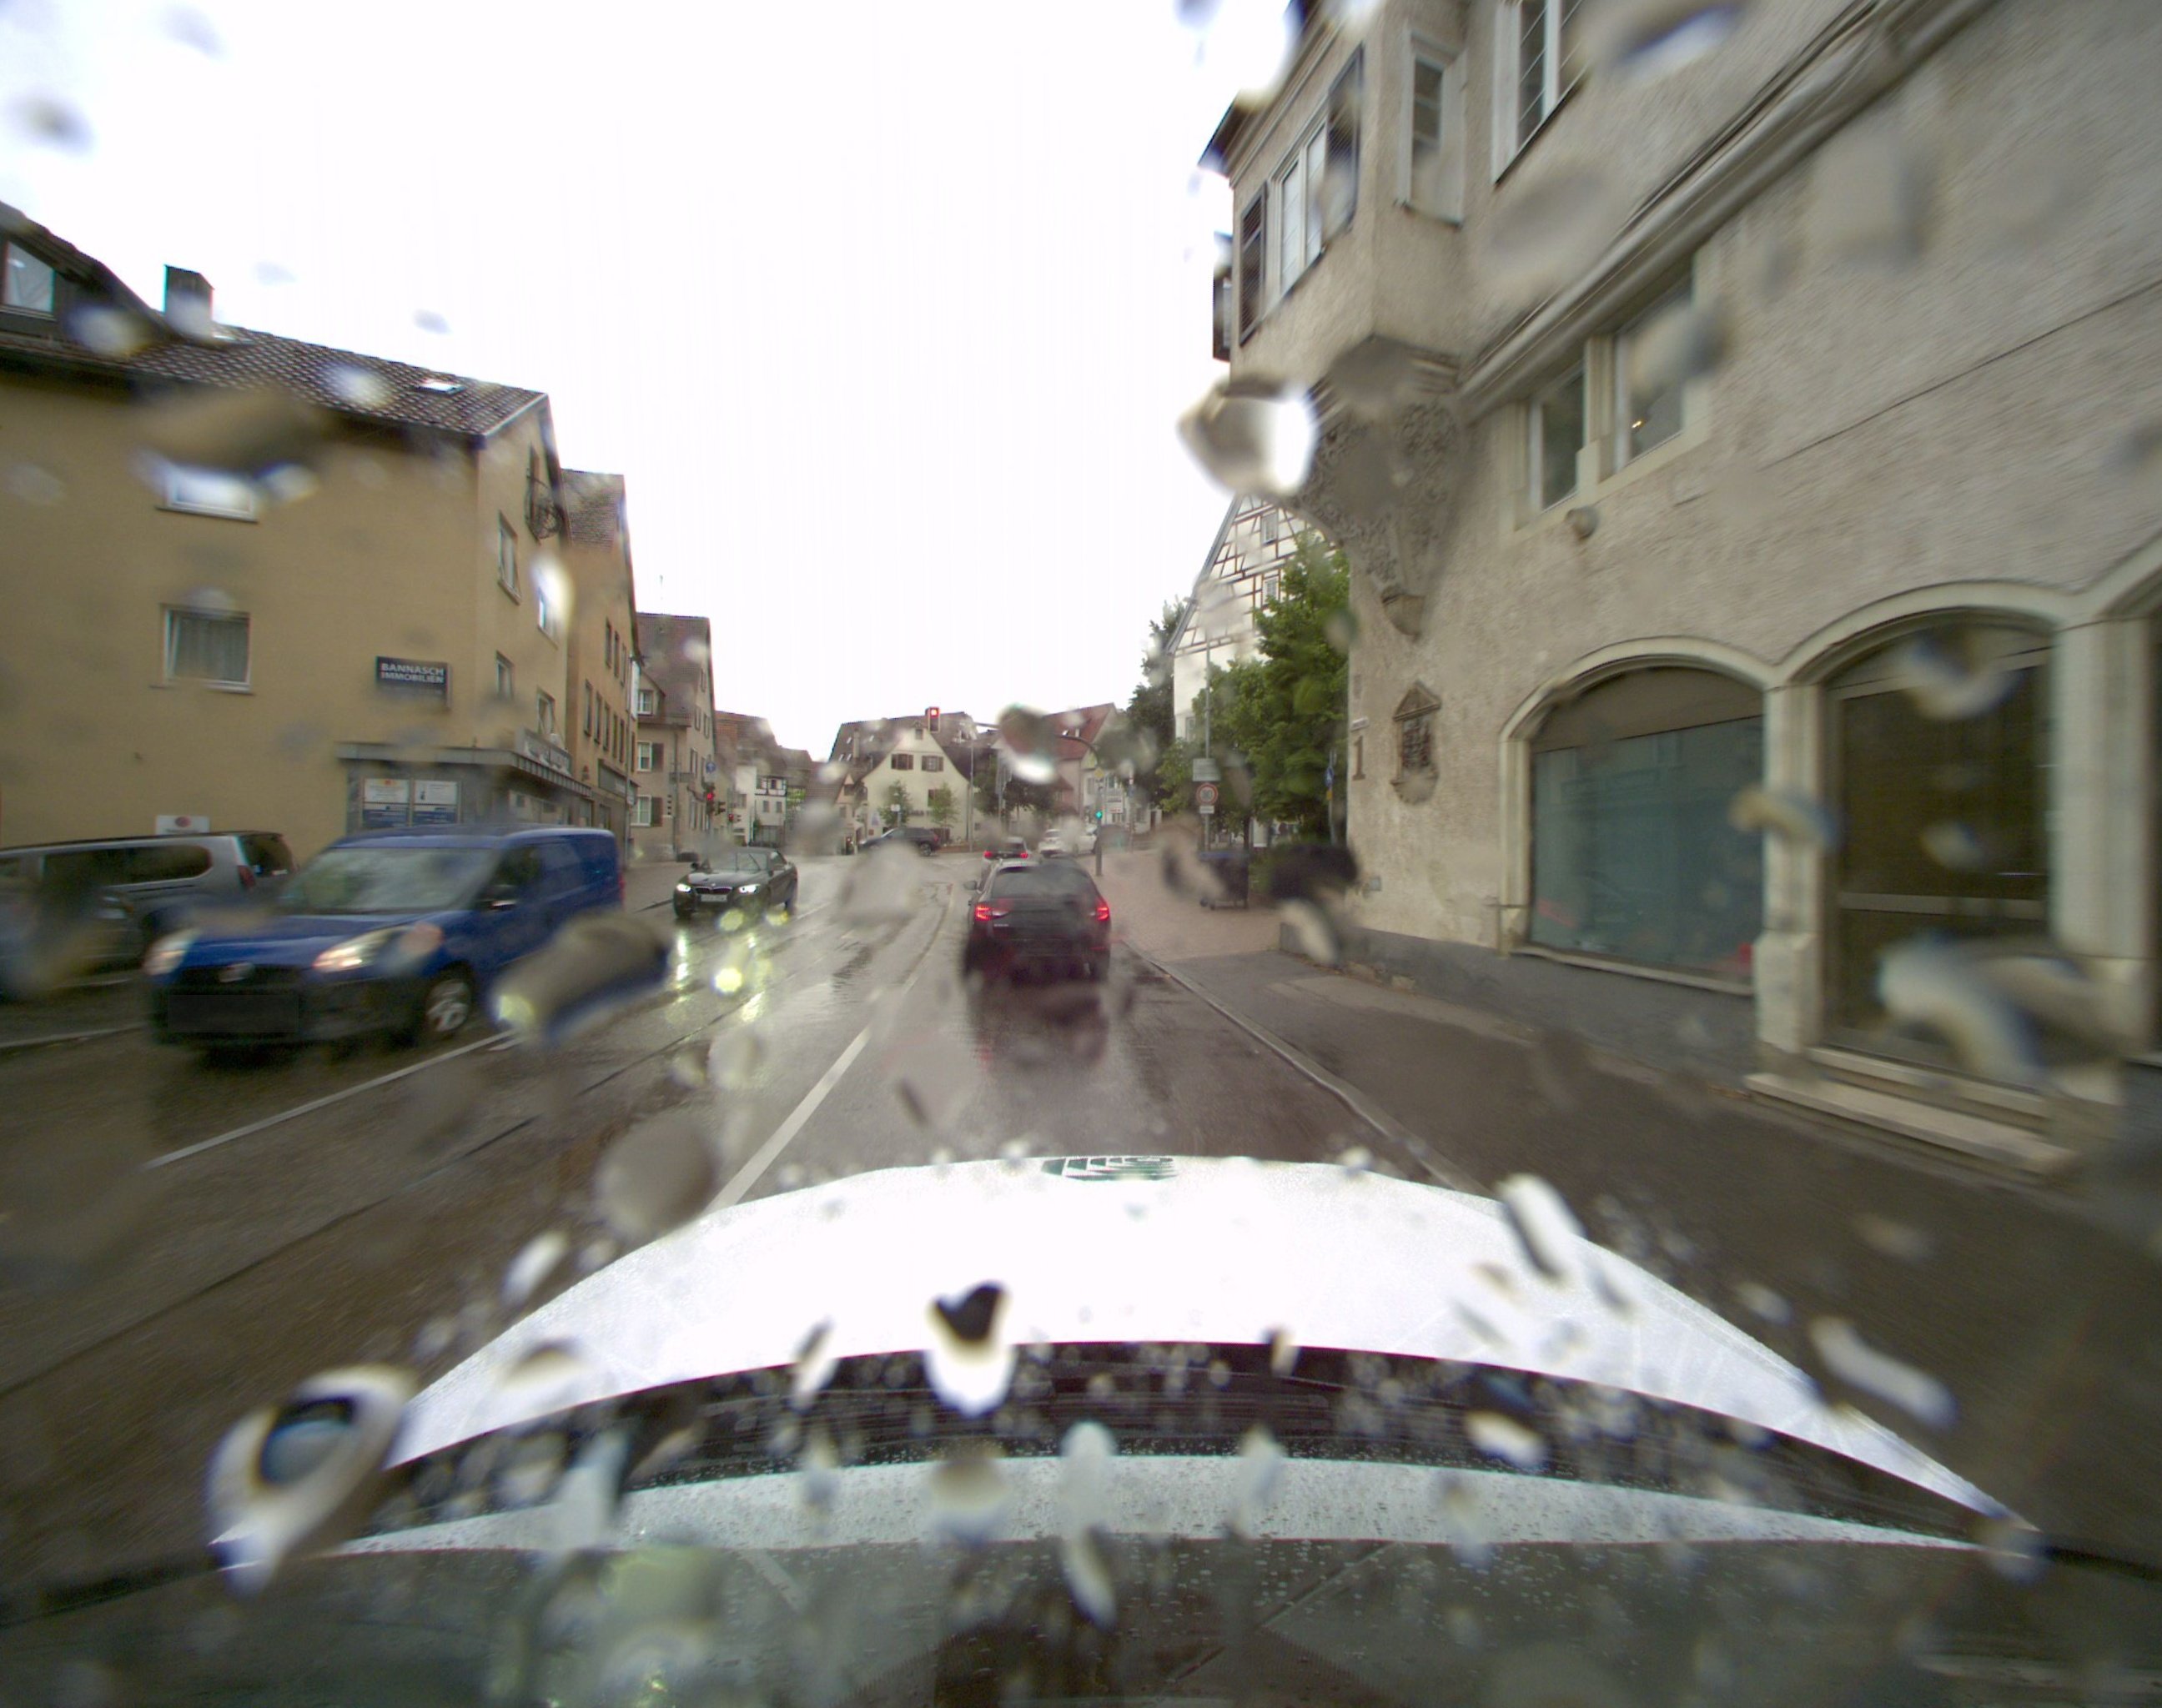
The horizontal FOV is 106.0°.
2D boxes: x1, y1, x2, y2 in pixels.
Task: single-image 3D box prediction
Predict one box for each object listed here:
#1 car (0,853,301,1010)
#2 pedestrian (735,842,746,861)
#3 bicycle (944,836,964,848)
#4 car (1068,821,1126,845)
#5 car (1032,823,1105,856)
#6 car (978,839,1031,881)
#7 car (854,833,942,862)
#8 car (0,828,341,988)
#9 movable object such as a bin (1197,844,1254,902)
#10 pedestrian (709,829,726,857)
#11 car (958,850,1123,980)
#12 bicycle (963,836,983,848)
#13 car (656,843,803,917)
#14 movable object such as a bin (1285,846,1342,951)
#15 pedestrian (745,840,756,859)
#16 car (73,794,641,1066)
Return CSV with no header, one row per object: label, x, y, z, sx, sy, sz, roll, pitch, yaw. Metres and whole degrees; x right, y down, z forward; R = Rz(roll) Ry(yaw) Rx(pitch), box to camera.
car,-10.961,0.735,8.250,4.008,1.453,1.884,0,0,-26
pedestrian,-31.386,-0.211,75.116,0.781,1.731,0.627,-2,3,-18
bicycle,-9.576,-0.918,61.231,1.477,0.911,0.388,-2,4,-39
car,0.986,-1.295,50.822,3.385,1.477,1.528,0,1,-15
car,-0.589,-0.751,41.501,1.867,1.596,4.352,0,1,28
car,-2.812,0.179,30.333,1.853,1.473,3.994,0,1,-5
car,-10.431,-0.375,46.389,4.748,1.588,1.819,0,2,-19
car,-14.303,0.773,11.663,4.944,1.824,1.947,-6,5,-25
movable object such as a bin,3.403,0.432,19.294,1.151,1.313,1.186,0,1,-1
pedestrian,-24.724,-0.779,55.365,0.802,1.830,0.706,-5,4,-37
car,-0.700,0.677,11.476,1.885,1.448,4.347,0,1,-7
bicycle,-8.218,-0.912,61.944,1.477,0.911,0.388,-2,4,-39
car,-7.409,0.458,17.641,1.860,1.387,4.251,0,1,-8
movable object such as a bin,3.301,0.620,11.599,0.414,1.442,0.638,0,-2,-30
pedestrian,-30.598,-0.402,75.384,0.781,1.731,0.627,-2,3,-18
car,-6.264,0.530,7.955,1.992,1.882,4.367,0,0,-7
